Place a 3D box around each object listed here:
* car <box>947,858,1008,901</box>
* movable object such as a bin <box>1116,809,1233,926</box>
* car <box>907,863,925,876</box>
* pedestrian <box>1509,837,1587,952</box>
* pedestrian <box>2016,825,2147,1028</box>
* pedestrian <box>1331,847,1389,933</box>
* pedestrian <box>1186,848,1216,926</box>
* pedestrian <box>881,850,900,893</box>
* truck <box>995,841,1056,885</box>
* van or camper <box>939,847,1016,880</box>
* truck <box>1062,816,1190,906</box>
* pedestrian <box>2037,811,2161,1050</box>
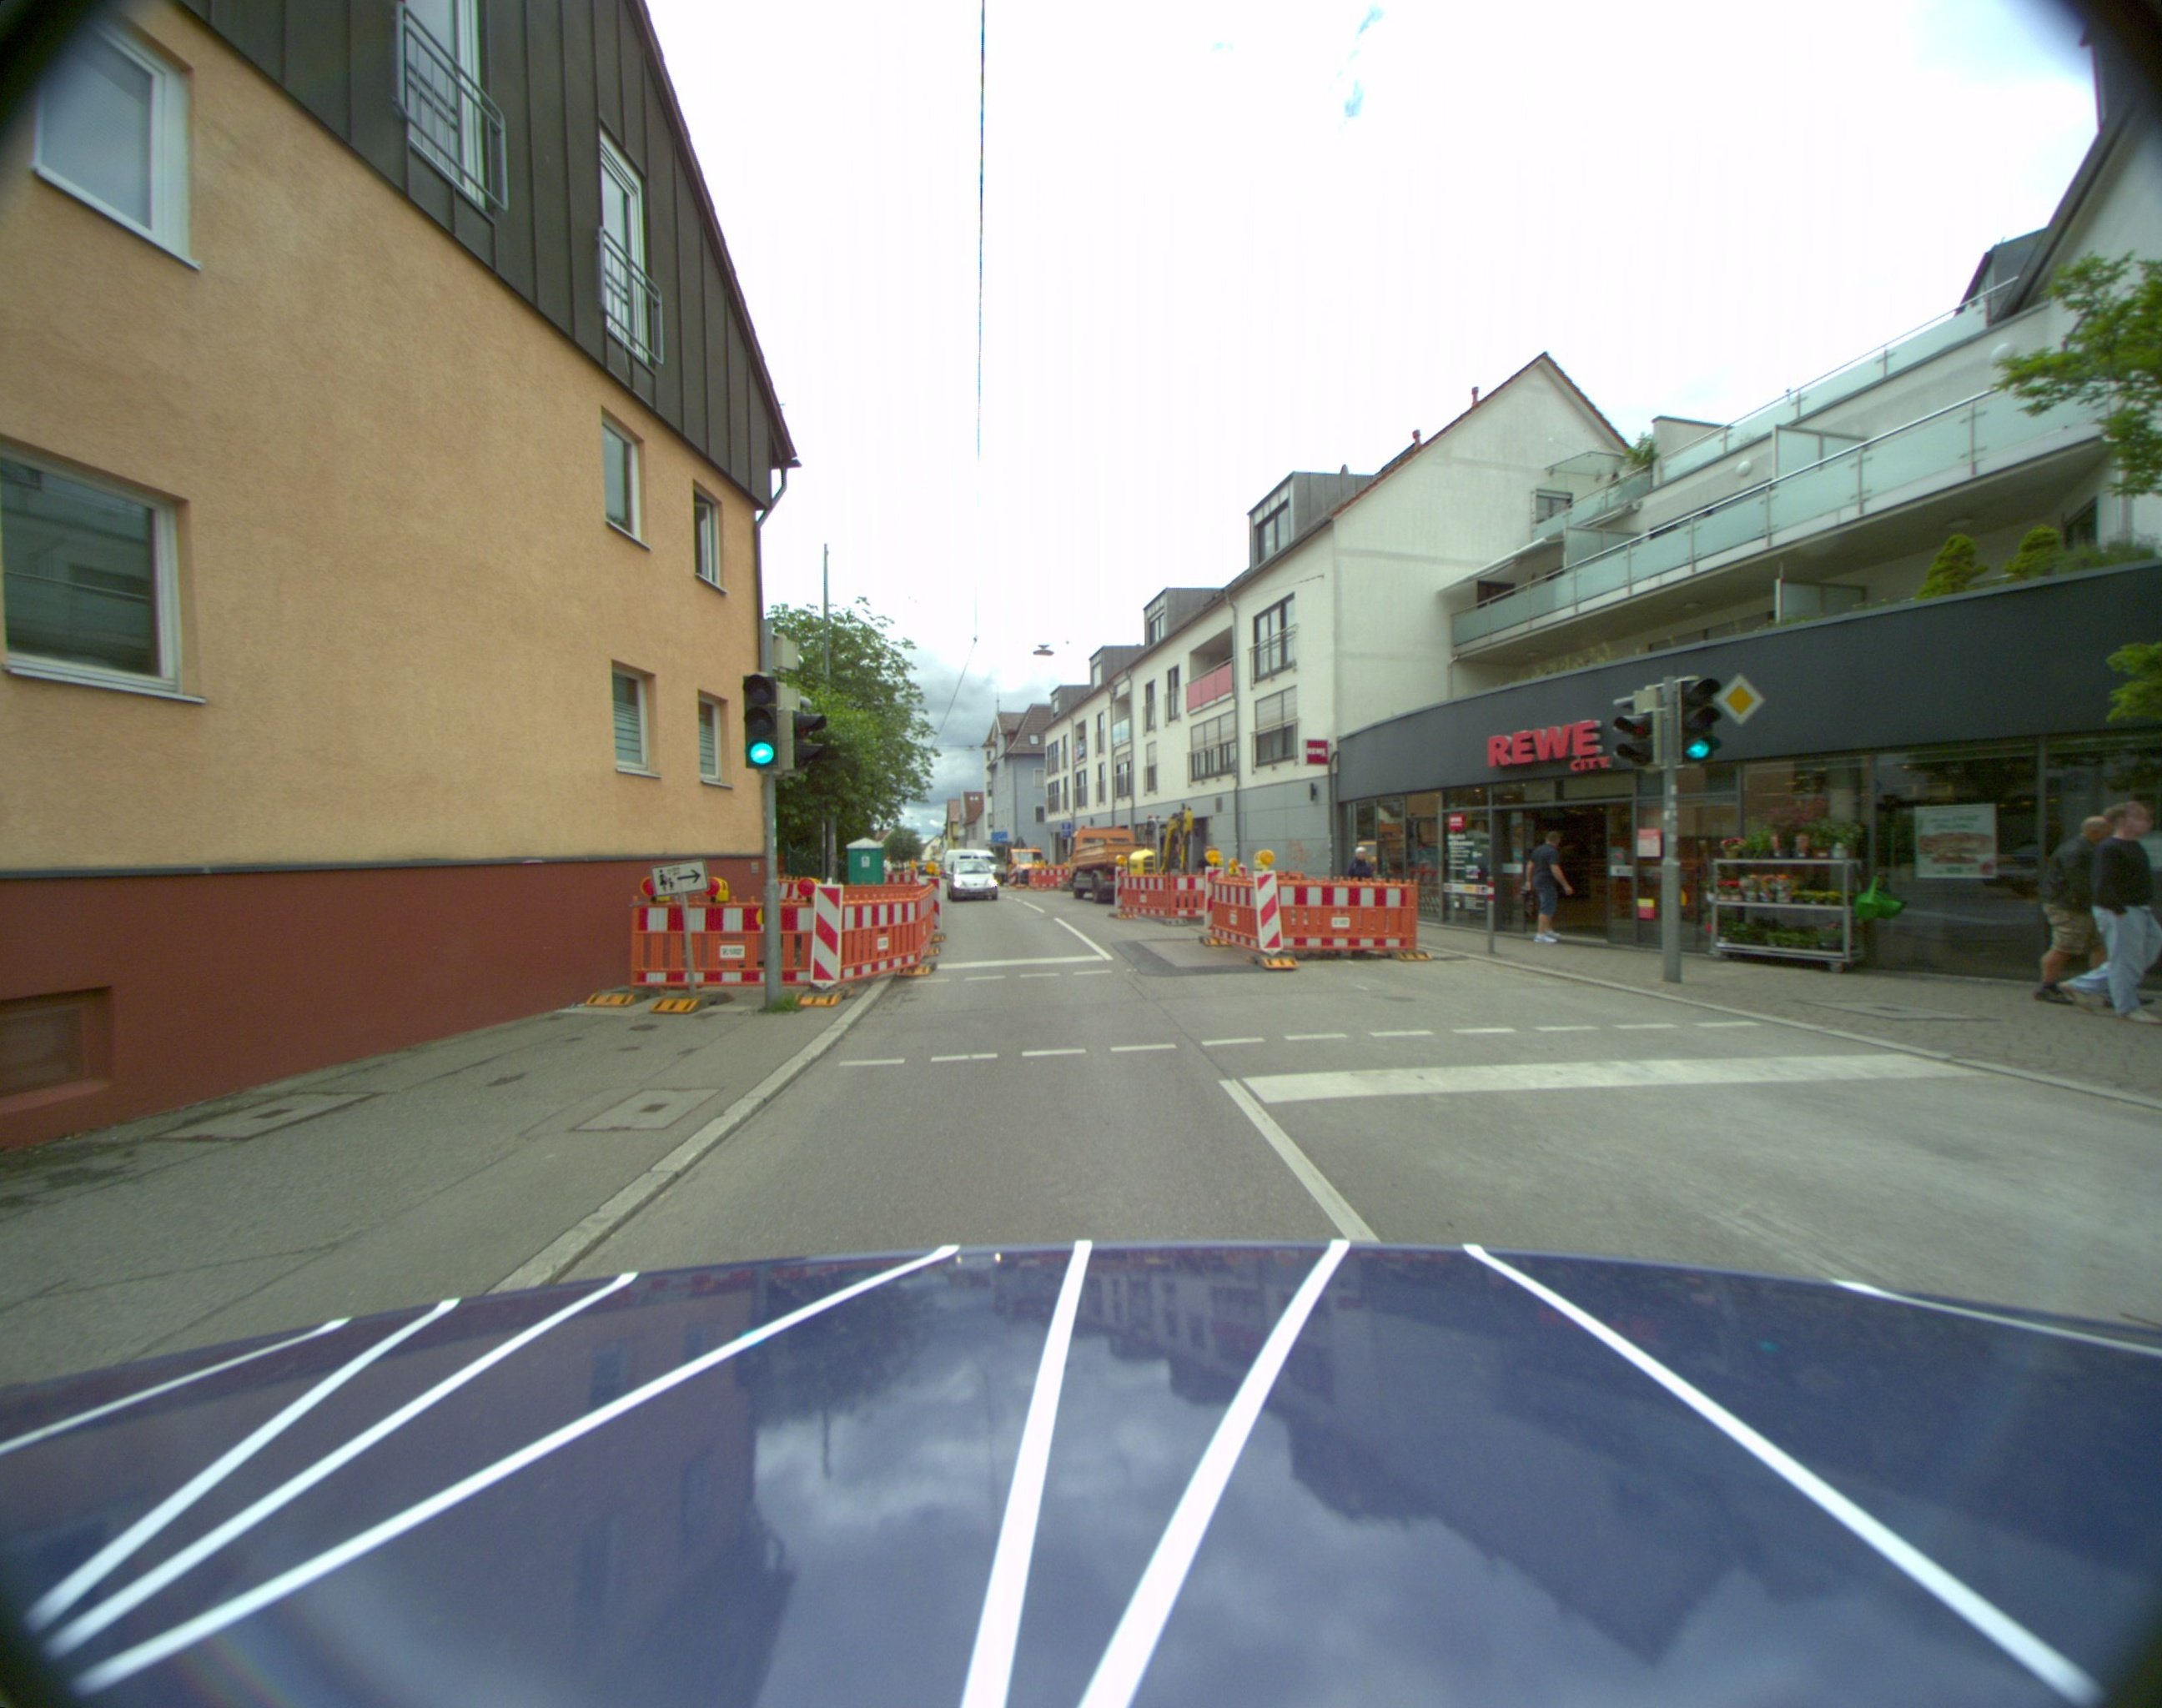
[{"bbox_3d":[-4.140,0.948,29.800,1.860,1.547,4.347,0,-1,-15],"label":"car"},{"bbox_3d":[2.334,0.273,20.230,1.845,2.748,4.500,-1,1,-10],"label":"movable object such as a bin"},{"bbox_3d":[-19.545,1.846,89.873,1.820,1.511,2.938,-1,-1,-7],"label":"car"},{"bbox_3d":[7.742,0.654,12.635,0.755,1.833,0.788,-1,0,-8],"label":"pedestrian"},{"bbox_3d":[9.397,0.634,7.157,0.695,1.780,0.716,-2,1,-37],"label":"pedestrian"},{"bbox_3d":[5.708,0.713,15.577,0.834,1.702,0.815,-1,0,-6],"label":"pedestrian"},{"bbox_3d":[2.704,0.728,17.074,0.539,1.734,0.443,-1,0,-8],"label":"pedestrian"},{"bbox_3d":[-8.638,0.776,34.415,0.801,1.938,0.835,0,0,-18],"label":"pedestrian"},{"bbox_3d":[-3.441,0.552,45.713,2.423,2.451,6.300,0,-1,-16],"label":"truck"},{"bbox_3d":[-8.332,0.782,60.983,6.190,2.591,2.332,-1,-1,36],"label":"van or camper"},{"bbox_3d":[1.327,0.244,26.719,2.741,2.708,6.841,-1,-1,-12],"label":"truck"},{"bbox_3d":[8.854,0.607,6.486,0.818,1.914,0.782,-2,1,-34],"label":"pedestrian"}]
